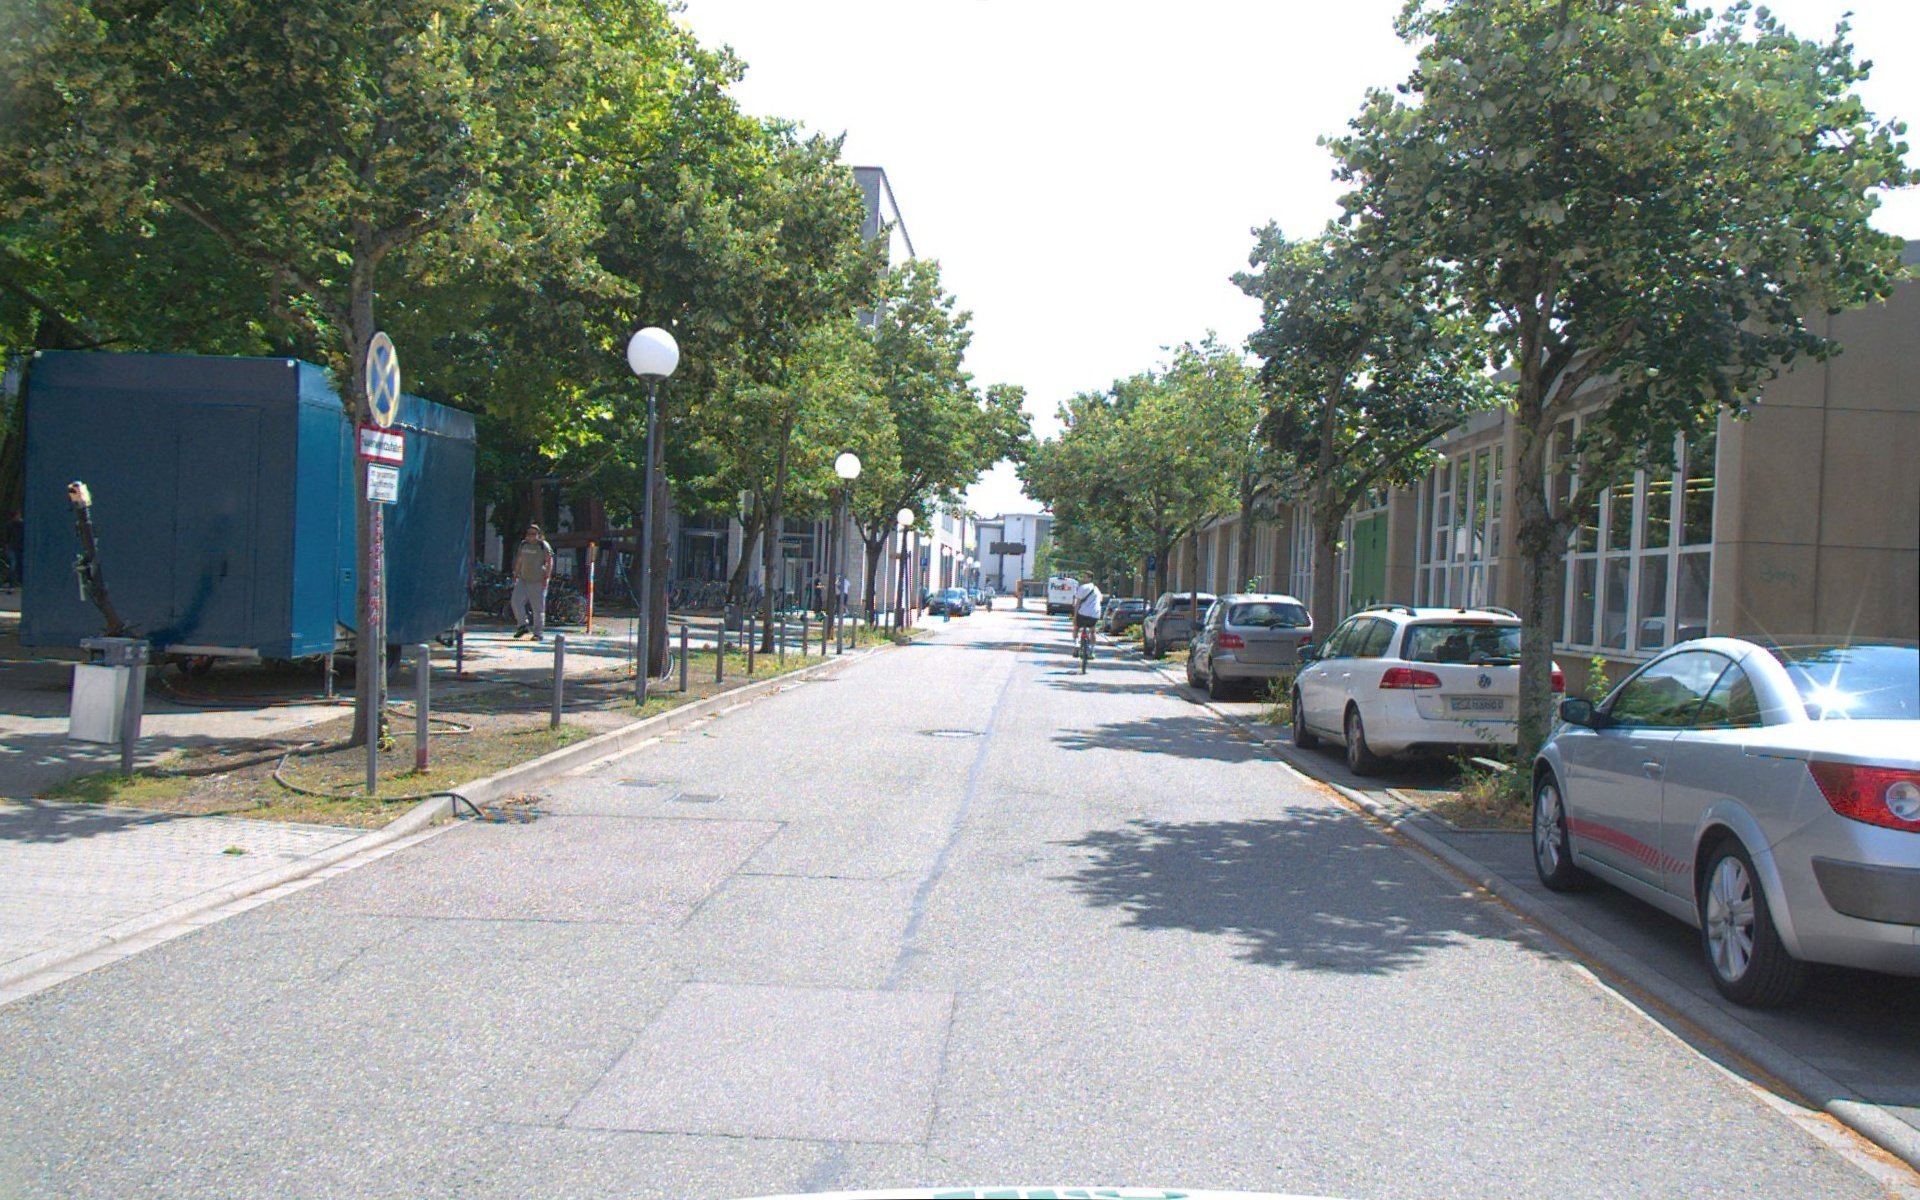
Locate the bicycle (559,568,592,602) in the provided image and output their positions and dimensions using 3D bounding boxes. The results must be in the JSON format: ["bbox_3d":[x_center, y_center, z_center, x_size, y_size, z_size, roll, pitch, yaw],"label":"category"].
[{"bbox_3d":[-14.854,-0.559,63.880,0.514,1.274,2.383,2,0,4],"label":"bicycle"}]

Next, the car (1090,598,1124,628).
[{"bbox_3d":[8.365,0.733,94.382,1.820,1.601,4.002,2,0,3],"label":"car"}]

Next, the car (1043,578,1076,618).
[{"bbox_3d":[6.802,-0.139,113.597,2.041,2.583,4.317,4,0,2],"label":"car"}]

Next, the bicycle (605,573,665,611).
[{"bbox_3d":[-11.491,-0.269,58.540,1.992,1.275,0.582,2,0,-30],"label":"bicycle"}]

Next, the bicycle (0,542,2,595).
[{"bbox_3d":[-21.268,-0.699,34.644,1.969,1.138,0.584,3,0,-6],"label":"bicycle"}]

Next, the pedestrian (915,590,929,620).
[{"bbox_3d":[-2.194,0.288,96.126,0.637,1.731,0.888,4,0,-8],"label":"pedestrian"}]

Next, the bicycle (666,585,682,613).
[{"bbox_3d":[-10.284,-0.048,59.570,0.466,0.982,1.653,3,0,-8],"label":"bicycle"}]

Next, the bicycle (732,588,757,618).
[{"bbox_3d":[-8.367,0.102,64.157,0.540,1.105,1.974,4,0,3],"label":"bicycle"}]

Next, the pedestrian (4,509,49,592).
[{"bbox_3d":[-19.682,-1.038,34.882,0.621,1.699,0.726,4,0,-21],"label":"pedestrian"}]

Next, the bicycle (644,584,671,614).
[{"bbox_3d":[-11.731,-0.054,64.179,0.540,1.105,1.974,4,0,3],"label":"bicycle"}]

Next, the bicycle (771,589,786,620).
[{"bbox_3d":[-6.322,0.138,57.582,0.374,1.043,1.811,3,0,-9],"label":"bicycle"}]

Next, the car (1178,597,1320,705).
[{"bbox_3d":[4.687,0.774,27.343,1.669,1.601,4.141,2,0,1],"label":"car"}]

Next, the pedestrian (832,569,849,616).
[{"bbox_3d":[-5.167,-0.327,71.299,0.407,1.975,0.658,4,0,-26],"label":"pedestrian"}]

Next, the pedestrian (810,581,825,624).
[{"bbox_3d":[-6.207,0.106,72.156,0.436,1.806,0.447,3,0,-28],"label":"pedestrian"}]

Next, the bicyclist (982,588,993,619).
[{"bbox_3d":[1.856,0.204,111.225,0.697,2.049,1.019,1,0,1],"label":"bicyclist"}]

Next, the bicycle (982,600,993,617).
[{"bbox_3d":[1.833,0.565,111.149,0.671,1.149,1.889,2,0,1],"label":"bicycle"}]

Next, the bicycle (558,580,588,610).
[{"bbox_3d":[-15.042,-0.204,64.356,0.540,1.105,1.974,4,0,3],"label":"bicycle"}]

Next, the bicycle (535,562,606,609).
[{"bbox_3d":[-13.492,-0.494,57.374,2.259,1.475,0.601,3,0,-31],"label":"bicycle"}]

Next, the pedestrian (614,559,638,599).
[{"bbox_3d":[-14.362,-0.898,71.190,0.624,1.690,0.689,3,0,44],"label":"pedestrian"}]

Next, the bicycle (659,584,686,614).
[{"bbox_3d":[-11.136,-0.027,64.179,0.540,1.105,1.974,4,0,3],"label":"bicycle"}]

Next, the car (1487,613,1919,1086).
[{"bbox_3d":[3.763,0.837,7.293,1.612,1.414,3.989,2,1,1],"label":"car"}]

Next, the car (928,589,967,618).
[{"bbox_3d":[-0.657,0.202,90.065,1.729,1.452,4.236,3,0,4],"label":"car"}]

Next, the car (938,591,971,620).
[{"bbox_3d":[-0.307,0.327,95.181,1.597,1.510,4.179,3,0,3],"label":"car"}]

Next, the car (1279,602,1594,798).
[{"bbox_3d":[4.293,0.808,15.681,1.690,1.493,4.672,2,0,1],"label":"car"}]

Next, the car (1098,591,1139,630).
[{"bbox_3d":[6.871,0.459,71.925,1.583,1.565,3.781,3,0,3],"label":"car"}]

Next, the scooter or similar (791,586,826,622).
[{"bbox_3d":[-5.288,0.138,57.790,0.333,1.196,1.322,3,0,37],"label":"scooter or similar"}]

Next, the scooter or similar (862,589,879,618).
[{"bbox_3d":[-4.002,0.162,73.816,0.445,1.245,1.550,3,0,6],"label":"scooter or similar"}]

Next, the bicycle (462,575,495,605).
[{"bbox_3d":[-18.793,-0.374,64.536,0.540,1.105,1.974,4,0,3],"label":"bicycle"}]

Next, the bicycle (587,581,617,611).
[{"bbox_3d":[-13.884,-0.155,64.171,0.540,1.105,1.974,4,0,3],"label":"bicycle"}]

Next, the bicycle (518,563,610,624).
[{"bbox_3d":[-9.470,-0.155,39.586,2.020,1.256,0.806,5,0,-15],"label":"bicycle"}]

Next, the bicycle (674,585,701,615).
[{"bbox_3d":[-10.580,0.001,64.219,0.540,1.105,1.974,4,0,3],"label":"bicycle"}]

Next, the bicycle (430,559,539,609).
[{"bbox_3d":[-13.710,-0.454,47.748,2.881,1.241,0.870,3,0,-40],"label":"bicycle"}]

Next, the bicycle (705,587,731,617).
[{"bbox_3d":[-9.440,0.062,64.505,0.540,1.105,1.974,4,0,3],"label":"bicycle"}]

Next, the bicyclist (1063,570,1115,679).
[{"bbox_3d":[2.490,0.466,32.062,0.855,2.048,0.850,3,0,2],"label":"bicyclist"}]

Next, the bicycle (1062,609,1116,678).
[{"bbox_3d":[2.482,0.811,32.078,0.864,1.220,2.750,3,0,2],"label":"bicycle"}]

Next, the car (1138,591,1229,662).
[{"bbox_3d":[5.700,0.674,42.601,1.785,1.693,4.584,1,-1,1],"label":"car"}]

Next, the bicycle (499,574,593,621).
[{"bbox_3d":[-10.313,-0.067,41.209,2.121,1.026,0.672,4,0,-27],"label":"bicycle"}]

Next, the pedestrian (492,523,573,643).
[{"bbox_3d":[-7.476,-0.291,28.931,0.898,1.988,0.893,5,0,13],"label":"pedestrian"}]

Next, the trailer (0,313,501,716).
[{"bbox_3d":[-6.948,-0.713,16.330,2.641,3.079,6.268,4,0,3],"label":"trailer"}]

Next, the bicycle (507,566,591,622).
[{"bbox_3d":[-9.216,-0.130,37.113,1.744,1.151,0.457,4,0,-15],"label":"bicycle"}]

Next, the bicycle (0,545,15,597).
[{"bbox_3d":[-21.863,-0.677,36.170,1.969,1.138,0.584,3,0,-6],"label":"bicycle"}]

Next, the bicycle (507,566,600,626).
[{"bbox_3d":[-9.494,-0.089,38.641,2.020,1.256,0.806,4,0,-15],"label":"bicycle"}]

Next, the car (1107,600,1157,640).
[{"bbox_3d":[6.864,0.765,66.323,1.743,1.502,4.463,1,0,3],"label":"car"}]

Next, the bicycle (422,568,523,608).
[{"bbox_3d":[-14.345,-0.343,48.724,2.707,1.020,0.870,3,0,-40],"label":"bicycle"}]

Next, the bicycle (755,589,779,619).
[{"bbox_3d":[-7.446,0.138,63.920,0.540,1.105,1.974,4,0,3],"label":"bicycle"}]

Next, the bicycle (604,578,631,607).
[{"bbox_3d":[-12.759,-0.270,61.688,0.465,1.050,1.851,3,0,3],"label":"bicycle"}]
